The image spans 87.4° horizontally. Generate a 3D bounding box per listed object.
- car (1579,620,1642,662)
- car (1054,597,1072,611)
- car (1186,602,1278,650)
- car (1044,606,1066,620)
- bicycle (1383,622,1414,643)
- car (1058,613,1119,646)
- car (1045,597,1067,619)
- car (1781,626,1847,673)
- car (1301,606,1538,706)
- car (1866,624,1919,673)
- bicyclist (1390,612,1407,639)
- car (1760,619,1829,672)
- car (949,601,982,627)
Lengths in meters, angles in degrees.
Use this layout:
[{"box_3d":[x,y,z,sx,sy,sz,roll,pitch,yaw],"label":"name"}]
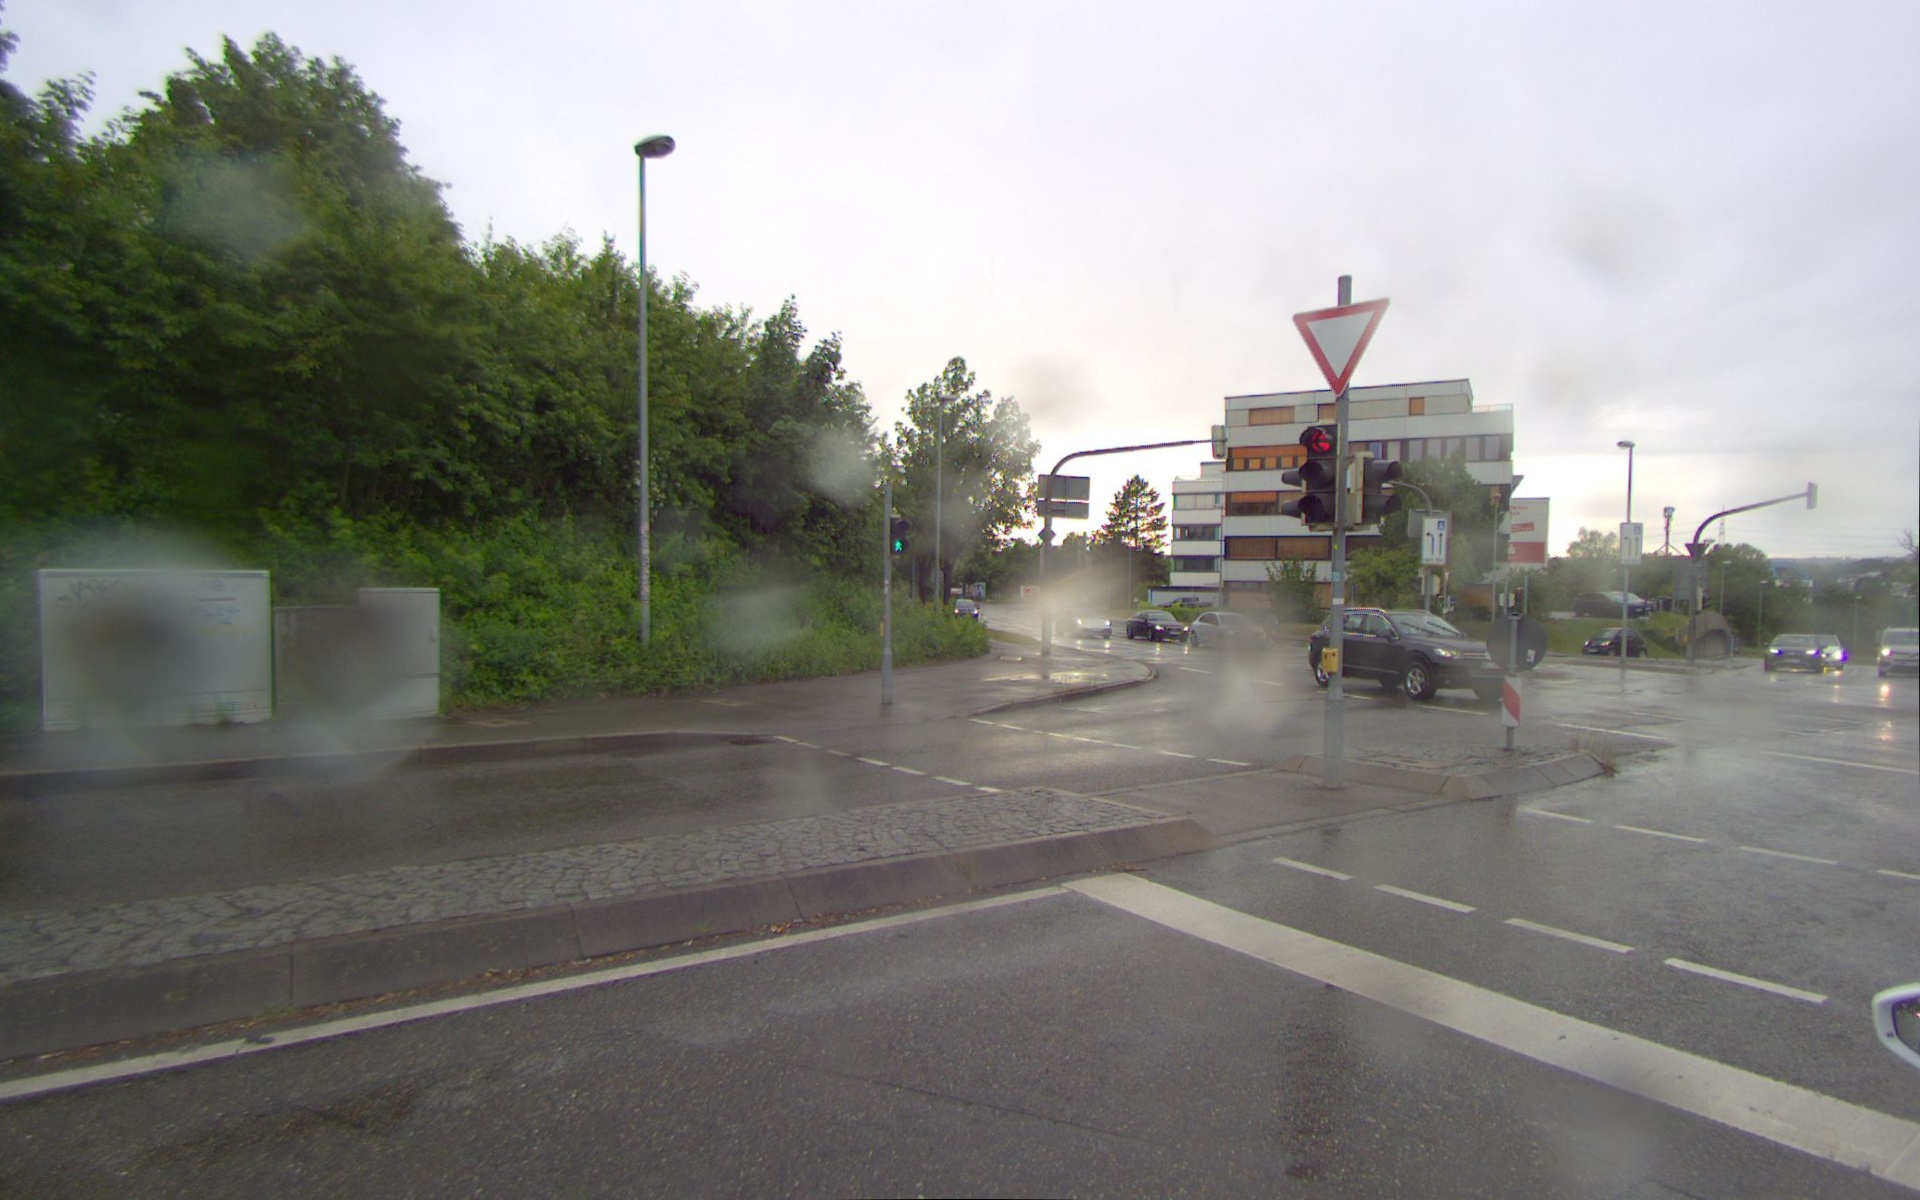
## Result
[{"box_3d":[32.757,1.996,50.508,1.972,1.920,3.977,2,1,43],"label":"car"},{"box_3d":[12.594,0.452,122.812,1.918,1.617,4.001,1,1,2],"label":"car"},{"box_3d":[10.686,0.982,39.785,1.964,1.706,3.992,1,1,-10],"label":"car"},{"box_3d":[8.205,1.085,86.858,1.784,1.120,3.517,1,0,3],"label":"car"},{"box_3d":[23.956,1.775,54.947,0.599,1.066,1.775,1,1,-13],"label":"bicycle"},{"box_3d":[6.036,1.360,47.766,1.822,1.377,4.441,1,1,-7],"label":"car"},{"box_3d":[8.319,0.692,87.007,1.782,1.818,4.001,1,0,4],"label":"car"},{"box_3d":[38.846,2.187,45.656,1.973,1.920,3.975,2,1,45],"label":"car"},{"box_3d":[9.269,1.043,20.771,1.967,1.725,4.597,1,1,-15],"label":"car"},{"box_3d":[34.871,1.746,36.949,3.972,1.639,1.974,1,1,-43],"label":"car"},{"box_3d":[23.973,1.386,54.942,0.593,1.465,0.544,1,1,-13],"label":"bicyclist"},{"box_3d":[33.686,1.781,40.507,1.971,1.920,3.978,2,1,42],"label":"car"},{"box_3d":[0.322,0.856,64.171,1.810,1.534,3.998,1,0,-3],"label":"car"}]
